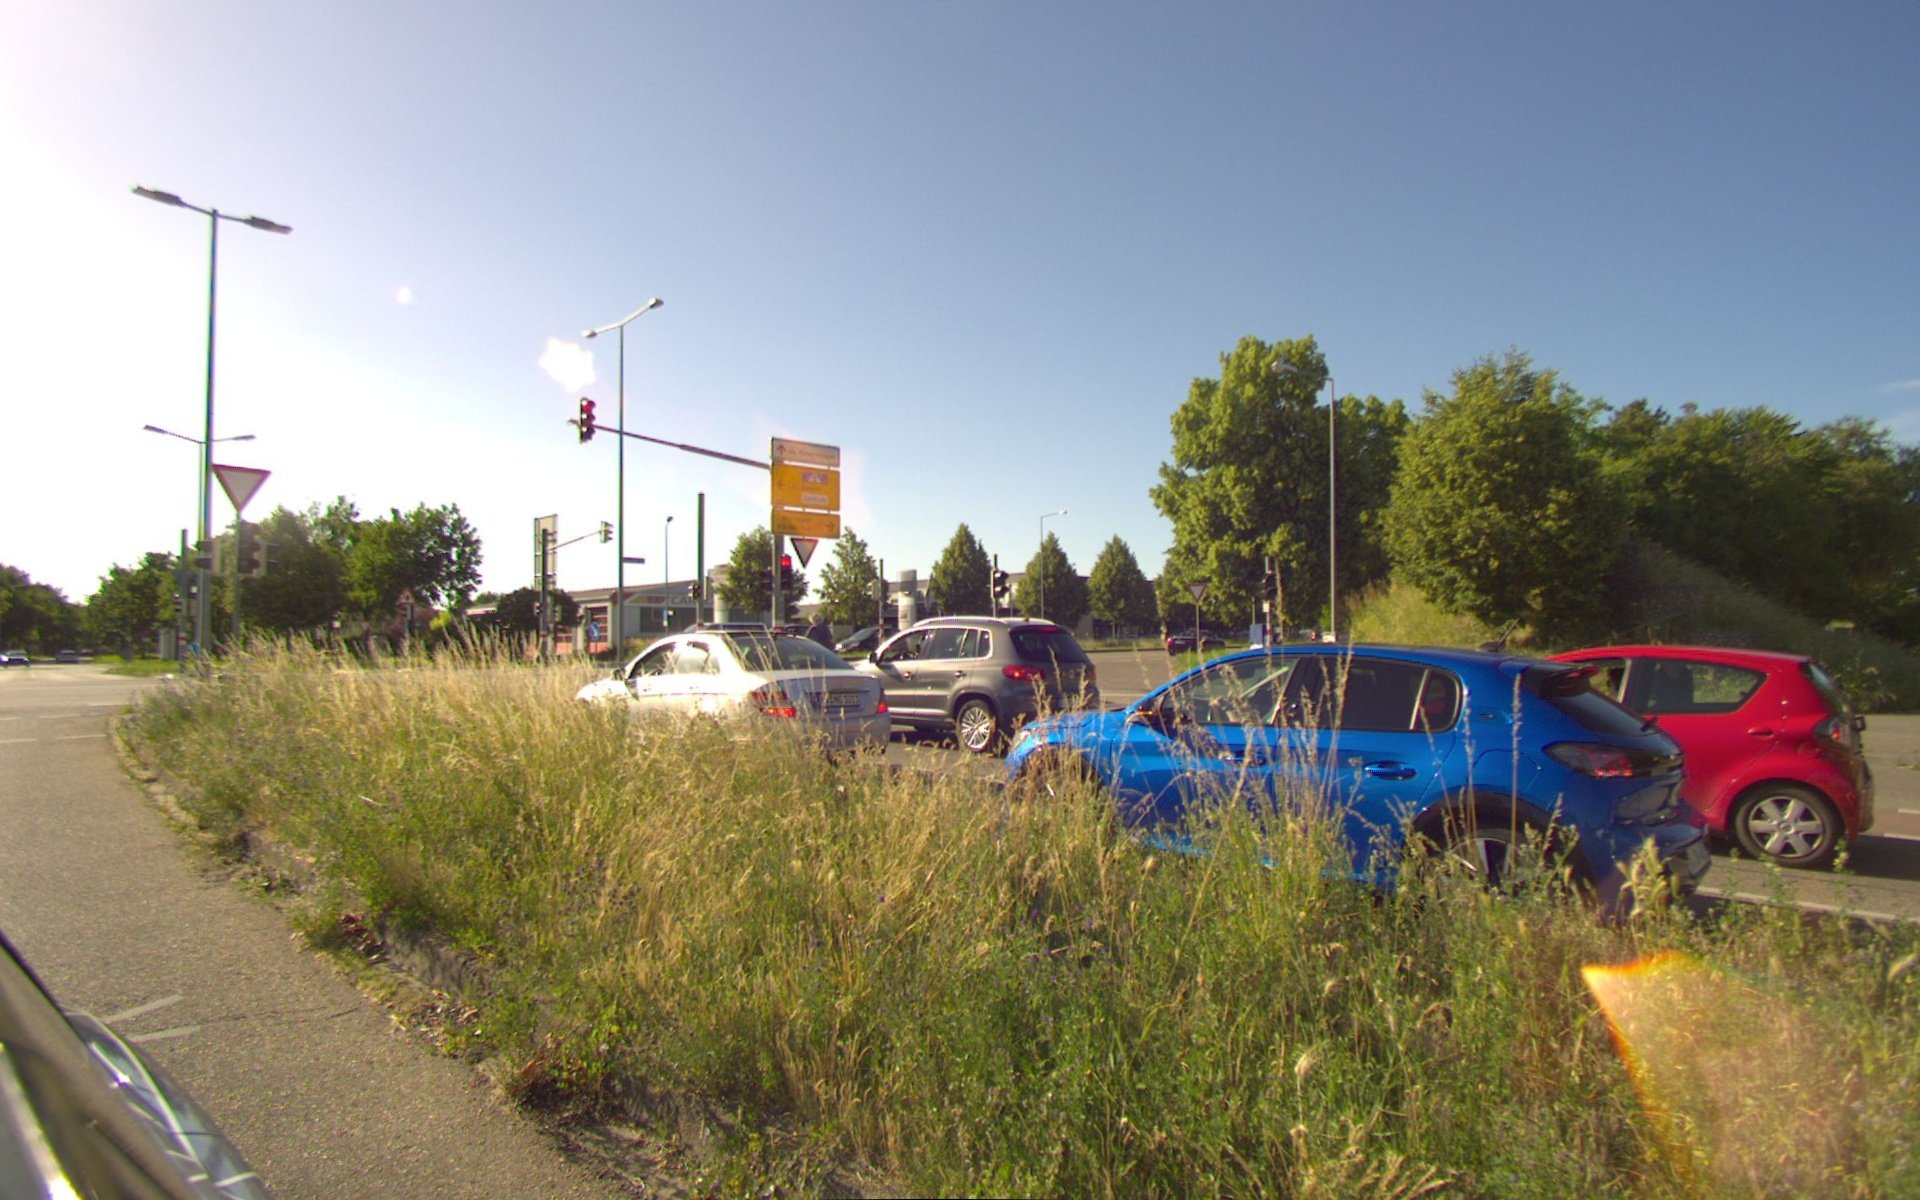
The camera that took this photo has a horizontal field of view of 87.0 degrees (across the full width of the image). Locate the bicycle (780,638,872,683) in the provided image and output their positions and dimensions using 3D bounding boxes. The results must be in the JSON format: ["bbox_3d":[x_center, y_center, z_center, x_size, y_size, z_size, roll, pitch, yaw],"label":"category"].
[{"bbox_3d":[-2.660,1.182,19.964,1.991,0.854,0.740,-3,-4,45],"label":"bicycle"}]

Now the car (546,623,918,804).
[{"bbox_3d":[-2.608,1.053,10.804,1.772,1.518,4.533,2,-3,-44],"label":"car"}]

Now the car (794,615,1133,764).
[{"bbox_3d":[-0.105,1.100,13.662,1.970,1.656,4.533,2,-3,-44],"label":"car"}]

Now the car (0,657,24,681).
[{"bbox_3d":[-85.103,6.114,90.535,4.001,2.029,1.706,-2,-3,44],"label":"car"}]

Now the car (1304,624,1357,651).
[{"bbox_3d":[24.394,2.464,66.511,1.833,1.639,3.943,-3,-2,43],"label":"car"}]

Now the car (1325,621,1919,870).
[{"bbox_3d":[5.042,0.953,7.996,1.626,1.494,3.716,2,-3,-44],"label":"car"}]

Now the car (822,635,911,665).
[{"bbox_3d":[-4.349,2.333,47.479,1.892,1.284,3.984,-5,-5,41],"label":"car"}]

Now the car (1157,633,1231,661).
[{"bbox_3d":[11.952,2.341,51.452,2.044,1.319,4.626,0,-1,36],"label":"car"}]

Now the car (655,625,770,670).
[{"bbox_3d":[-11.956,2.313,49.142,2.047,2.029,5.203,-5,-5,41],"label":"car"}]

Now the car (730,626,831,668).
[{"bbox_3d":[-7.665,2.015,43.467,1.892,1.657,3.984,-5,-5,41],"label":"car"}]

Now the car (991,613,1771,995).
[{"bbox_3d":[2.177,0.883,5.989,1.726,1.494,3.890,2,-3,-44],"label":"car"}]

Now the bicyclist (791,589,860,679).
[{"bbox_3d":[-2.664,0.667,19.979,1.242,1.715,0.736,-2,-3,45],"label":"bicyclist"}]
